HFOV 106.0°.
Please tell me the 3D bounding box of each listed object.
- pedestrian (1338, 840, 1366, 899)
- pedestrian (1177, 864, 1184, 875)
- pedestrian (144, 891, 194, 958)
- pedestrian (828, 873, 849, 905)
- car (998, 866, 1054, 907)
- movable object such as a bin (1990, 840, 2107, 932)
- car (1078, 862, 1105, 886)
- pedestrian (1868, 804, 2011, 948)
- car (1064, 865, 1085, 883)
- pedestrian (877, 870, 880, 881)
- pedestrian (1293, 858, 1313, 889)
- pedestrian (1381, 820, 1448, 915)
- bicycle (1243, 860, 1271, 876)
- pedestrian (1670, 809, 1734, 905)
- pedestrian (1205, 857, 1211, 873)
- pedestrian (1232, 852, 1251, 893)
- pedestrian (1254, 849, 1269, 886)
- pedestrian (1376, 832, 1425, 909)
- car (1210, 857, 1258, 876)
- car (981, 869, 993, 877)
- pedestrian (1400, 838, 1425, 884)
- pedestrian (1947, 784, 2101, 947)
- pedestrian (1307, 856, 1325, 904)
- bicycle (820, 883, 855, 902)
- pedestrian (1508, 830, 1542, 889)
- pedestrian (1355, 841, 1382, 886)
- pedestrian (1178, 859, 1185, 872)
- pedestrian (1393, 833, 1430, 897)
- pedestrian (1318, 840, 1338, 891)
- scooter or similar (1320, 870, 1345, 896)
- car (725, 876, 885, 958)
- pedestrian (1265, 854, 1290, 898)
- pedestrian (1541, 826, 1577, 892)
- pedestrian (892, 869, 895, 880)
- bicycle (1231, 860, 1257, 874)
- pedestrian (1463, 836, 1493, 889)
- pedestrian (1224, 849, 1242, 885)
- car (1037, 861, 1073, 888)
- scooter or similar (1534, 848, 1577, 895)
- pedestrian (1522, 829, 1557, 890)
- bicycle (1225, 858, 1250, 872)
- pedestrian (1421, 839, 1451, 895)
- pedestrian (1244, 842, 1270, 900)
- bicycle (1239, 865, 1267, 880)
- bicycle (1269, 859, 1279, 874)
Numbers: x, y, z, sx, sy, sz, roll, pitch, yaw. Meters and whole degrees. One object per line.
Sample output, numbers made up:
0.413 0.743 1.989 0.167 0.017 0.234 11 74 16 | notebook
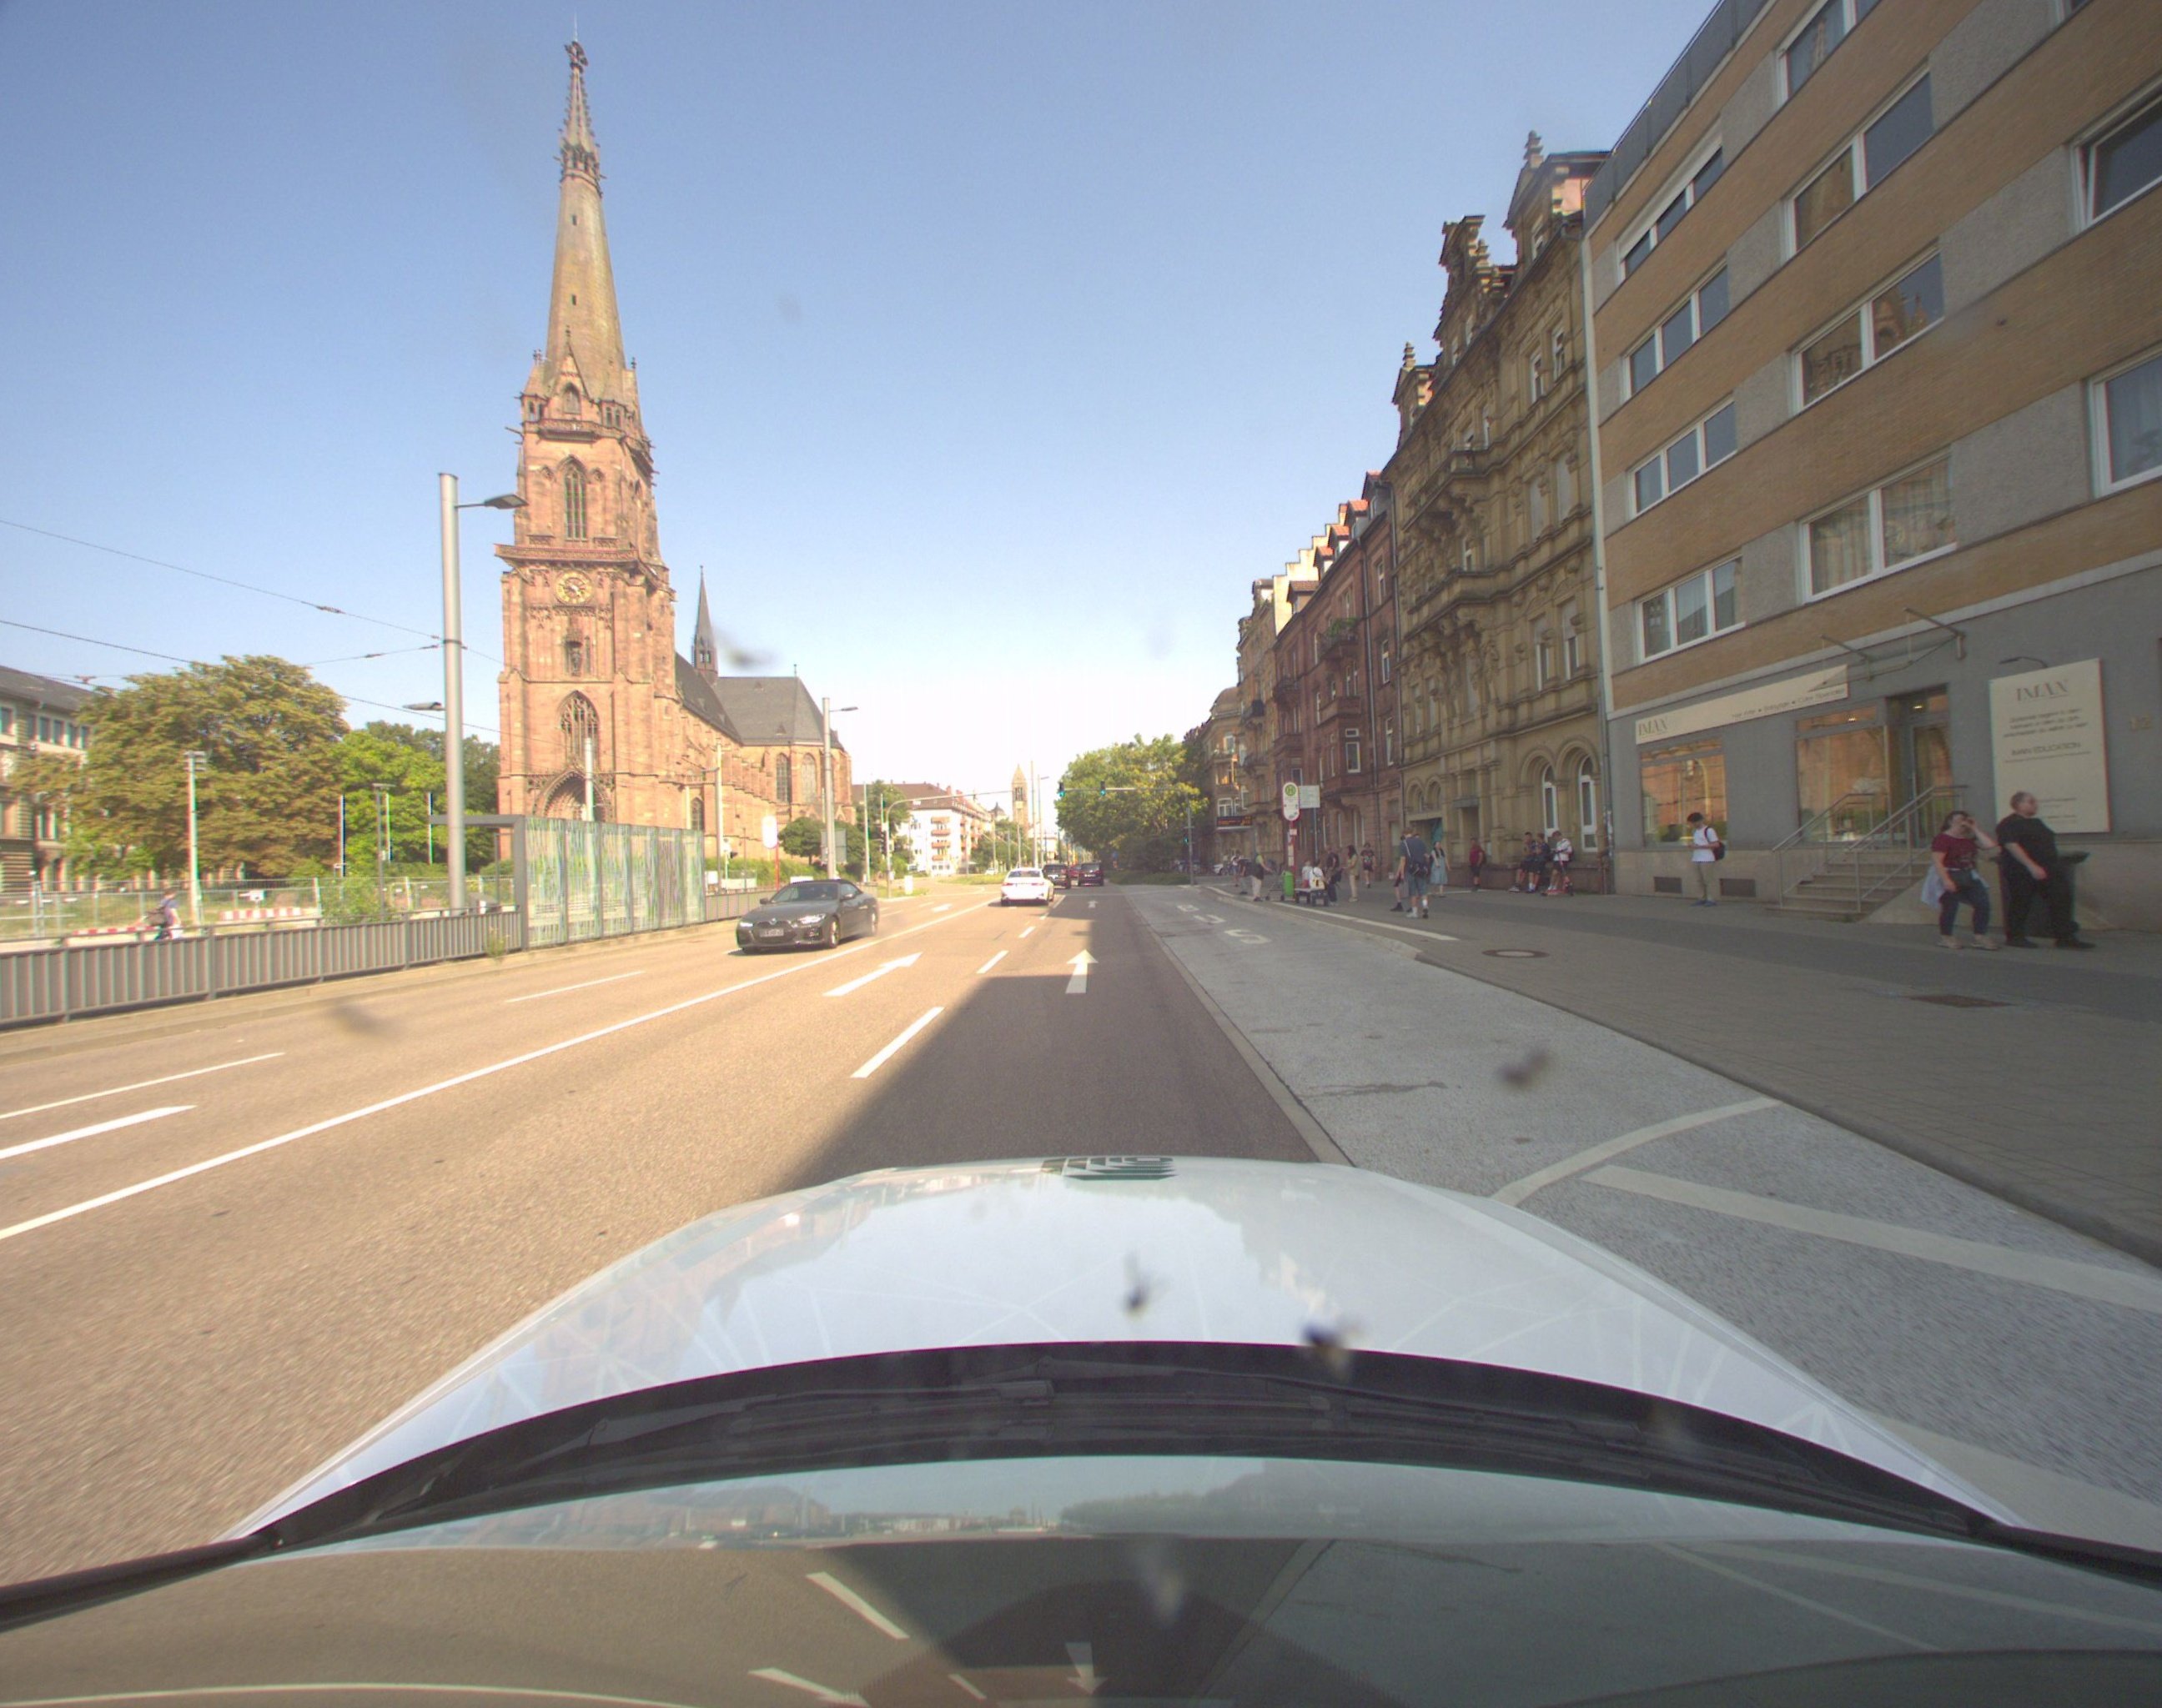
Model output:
8.182 0.473 24.602 0.563 1.729 0.617 -2 -1 -2 | pedestrian
9.838 1.529 80.308 0.446 1.071 0.482 -2 -1 -29 | pedestrian
-23.934 1.833 21.382 0.515 1.700 0.664 -2 -1 0 | pedestrian
-13.346 1.930 44.847 0.913 1.679 0.602 -2 -1 0 | pedestrian
-2.095 1.236 32.452 1.802 1.427 4.775 0 0 1 | car
12.014 0.384 10.126 0.738 1.080 0.666 -2 -1 -16 | movable object such as a bin
0.784 1.369 58.255 1.825 1.621 4.358 -1 0 2 | car
10.170 0.254 9.687 0.717 1.610 0.856 -2 -1 2 | pedestrian
-0.570 1.898 79.469 1.825 1.621 4.358 -1 0 2 | car
-28.642 3.091 115.057 0.304 1.518 0.340 -2 -1 -3 | pedestrian
6.212 0.543 22.831 0.302 0.820 0.603 -2 -1 -6 | pedestrian
6.724 0.266 16.454 0.923 1.831 0.800 -2 -1 -2 | pedestrian
12.782 1.023 59.198 1.924 1.048 0.499 -2 -1 -5 | bicycle
12.256 0.064 16.099 0.602 1.831 0.742 -2 -1 -2 | pedestrian
12.597 1.108 80.847 0.443 1.506 0.486 -2 -1 -4 | pedestrian
6.385 0.734 32.480 0.526 1.612 0.702 -2 -1 -2 | pedestrian
8.588 0.635 38.807 0.480 1.702 0.702 -2 -1 -2 | pedestrian
7.424 0.371 18.942 0.747 1.729 0.800 -2 -1 -2 | pedestrian
14.713 1.193 78.479 4.171 1.563 1.998 -2 -1 -3 | car
-18.964 3.767 164.092 1.987 1.500 3.998 -2 -1 -1 | car
12.825 0.277 31.524 0.627 1.719 0.691 -2 -1 1 | pedestrian
10.925 0.130 9.472 0.717 1.787 0.856 -2 -1 2 | pedestrian
6.273 0.690 21.770 0.275 1.274 0.447 -2 -1 -6 | pedestrian
-13.418 2.109 44.830 1.753 0.978 0.479 -3 -1 -1 | bicycle
12.975 0.153 23.803 0.602 1.692 0.586 -2 -1 -2 | pedestrian
11.240 0.363 31.876 0.698 1.724 0.897 -2 -1 1 | pedestrian
10.261 1.171 82.815 0.596 1.248 0.506 -2 -1 0 | pedestrian
9.630 0.307 23.760 0.614 1.804 1.072 -2 -1 2 | pedestrian
8.455 0.388 27.873 0.340 1.732 0.805 -2 -1 -2 | pedestrian
7.596 0.874 24.608 0.563 0.741 0.514 -2 -1 -2 | scooter or similar
-5.667 1.227 17.358 1.707 1.331 4.522 -4 -1 1 | car
5.988 0.662 24.820 0.563 1.277 0.596 -2 -1 -3 | pedestrian
12.994 0.136 22.136 0.602 1.731 0.510 -2 -1 -2 | pedestrian
-27.169 3.007 118.069 0.304 1.518 0.340 -2 -1 -3 | pedestrian
12.856 1.037 64.230 1.924 1.048 0.526 -2 -1 -5 | bicycle
12.574 0.270 25.811 0.602 1.654 0.586 -2 -1 -2 | pedestrian
7.311 0.632 39.183 0.688 1.664 0.619 -2 -1 1 | pedestrian
-1.567 1.237 50.924 1.986 1.621 4.358 -1 0 2 | car
12.194 0.436 20.965 0.359 1.163 1.152 -2 -1 -1 | scooter or similar
13.013 0.165 23.121 0.602 1.692 0.586 -2 -1 -2 | pedestrian
12.946 0.902 67.194 1.924 1.048 0.526 -2 -1 -5 | bicycle
10.354 0.376 23.757 0.484 1.610 0.813 -2 -1 2 | pedestrian
5.379 0.507 24.909 0.563 1.729 0.745 -2 -1 -2 | pedestrian
12.626 1.372 59.934 1.924 1.048 0.499 -2 -1 -5 | bicycle
13.574 0.861 57.250 0.414 1.048 1.673 -3 -1 7 | bicycle
